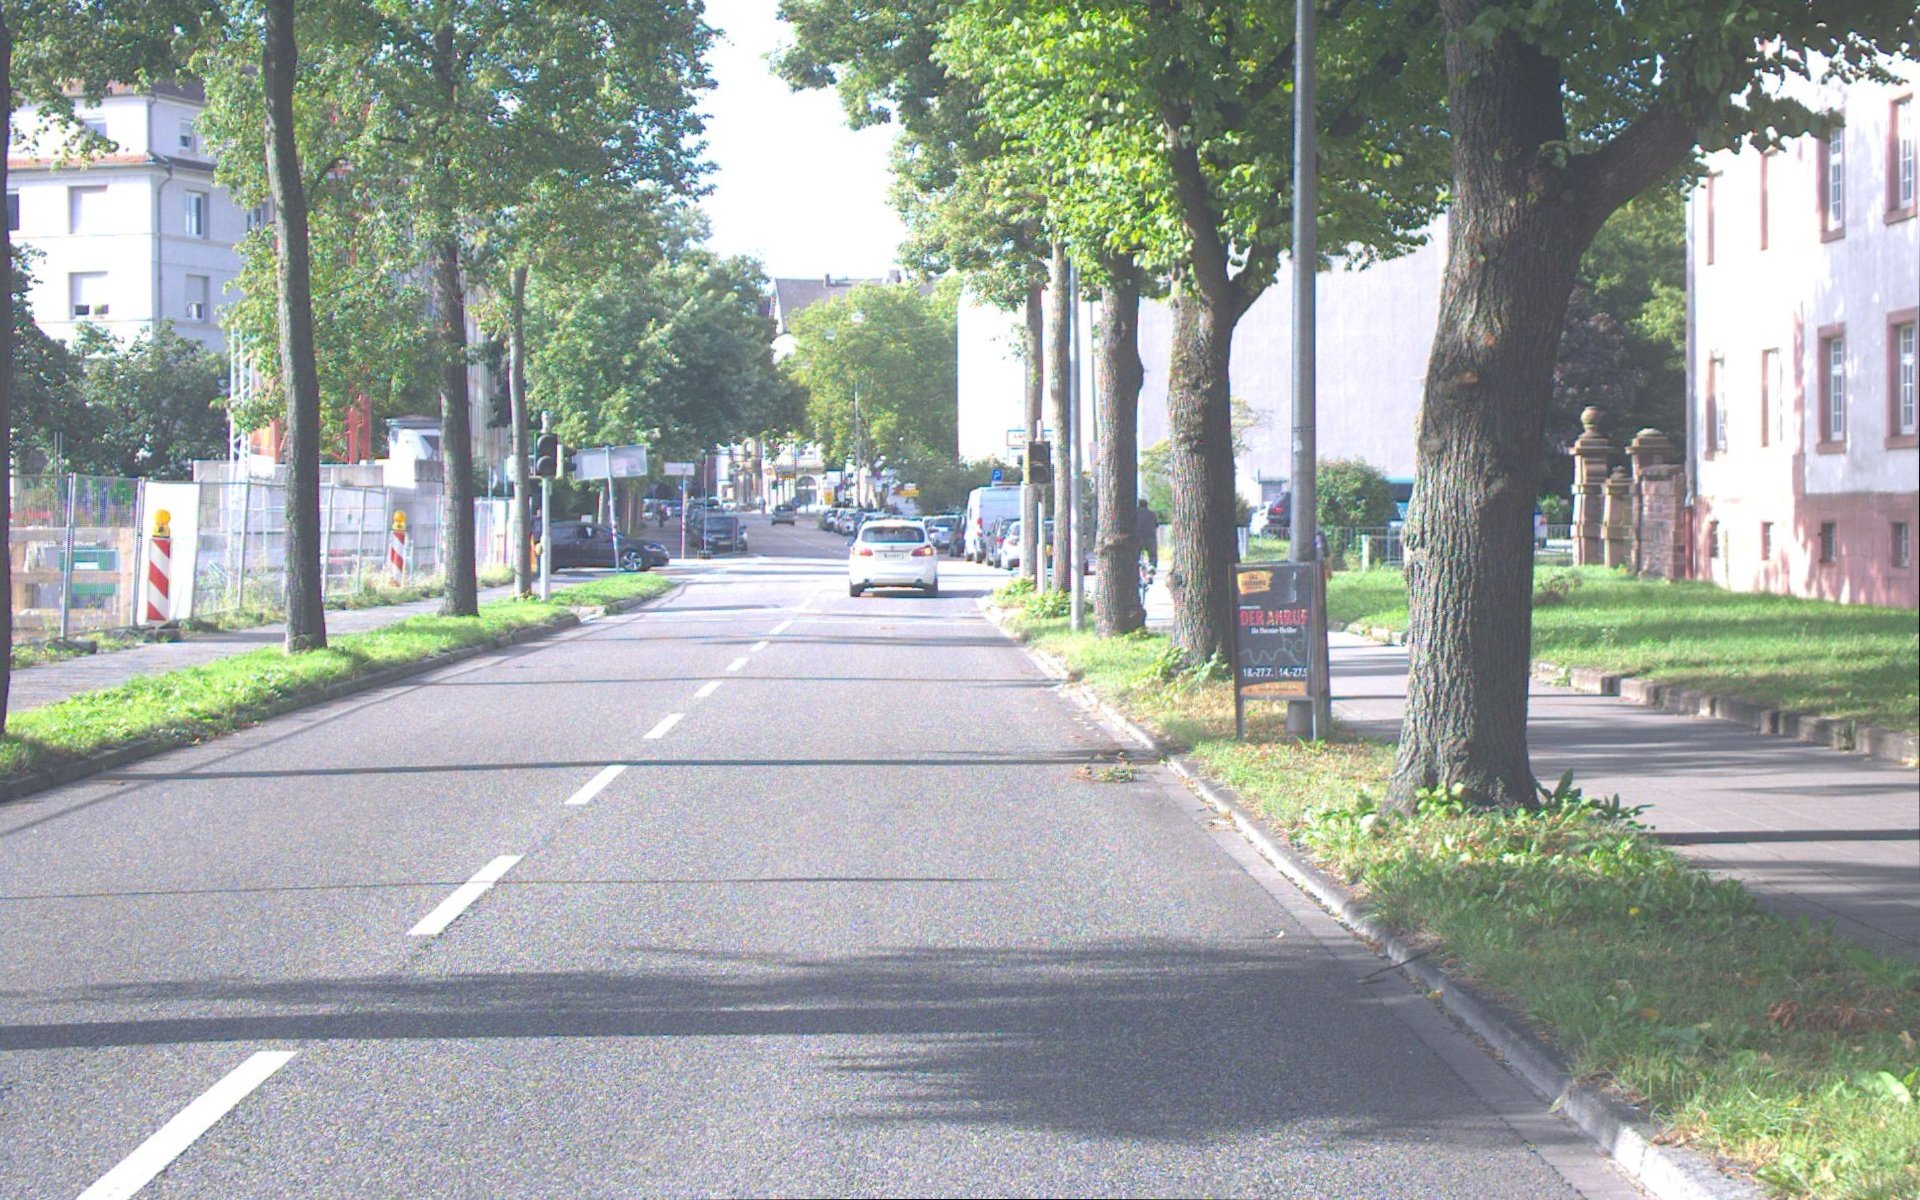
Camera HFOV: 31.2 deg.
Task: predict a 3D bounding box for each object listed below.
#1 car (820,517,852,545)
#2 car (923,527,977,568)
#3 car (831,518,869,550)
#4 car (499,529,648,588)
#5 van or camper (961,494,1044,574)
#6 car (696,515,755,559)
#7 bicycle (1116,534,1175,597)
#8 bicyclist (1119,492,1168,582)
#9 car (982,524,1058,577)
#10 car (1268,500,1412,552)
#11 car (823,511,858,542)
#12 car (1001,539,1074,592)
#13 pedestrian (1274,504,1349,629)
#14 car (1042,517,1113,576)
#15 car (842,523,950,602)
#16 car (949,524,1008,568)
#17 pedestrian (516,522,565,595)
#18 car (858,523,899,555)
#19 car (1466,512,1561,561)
[{"bbox_3d":[-8.043,-4.501,223.617,1.993,1.749,4.000,1,1,-1],"label":"car"},{"bbox_3d":[-0.414,-2.093,137.046,1.993,1.568,4.001,-1,1,-2],"label":"car"},{"bbox_3d":[-6.104,-3.654,190.600,1.993,1.749,4.000,1,1,-1],"label":"car"},{"bbox_3d":[-10.776,-1.151,95.735,3.986,1.565,2.001,1,1,-11],"label":"car"},{"bbox_3d":[1.388,-2.239,115.510,2.209,2.598,5.373,-1,1,-5],"label":"van or camper"},{"bbox_3d":[-9.008,-2.433,131.788,1.993,1.634,4.001,-1,1,-7],"label":"car"},{"bbox_3d":[3.202,-0.603,59.529,0.740,1.031,2.762,-2,1,-2],"label":"bicycle"},{"bbox_3d":[3.184,-1.094,59.706,0.737,1.508,0.875,-2,1,-2],"label":"bicyclist"},{"bbox_3d":[1.890,-1.587,109.557,1.993,1.610,4.409,-1,1,-4],"label":"car"},{"bbox_3d":[12.232,-2.398,110.853,4.448,1.616,2.000,-1,1,3],"label":"car"},{"bbox_3d":[-7.047,-4.325,203.185,1.993,1.749,4.000,1,1,-1],"label":"car"},{"bbox_3d":[2.292,-1.040,102.360,2.015,1.470,4.802,-1,1,0],"label":"car"},{"bbox_3d":[4.590,-0.444,44.922,0.814,1.585,0.769,-2,1,-2],"label":"pedestrian"},{"bbox_3d":[3.099,-1.411,91.161,1.717,1.491,4.268,-1,1,0],"label":"car"},{"bbox_3d":[-1.365,-0.797,71.539,1.993,1.549,4.275,1,1,-4],"label":"car"},{"bbox_3d":[0.648,-2.002,126.503,1.993,1.568,4.001,-1,1,-2],"label":"car"},{"bbox_3d":[-9.945,-0.976,81.480,1.006,1.722,1.178,0,0,-13],"label":"pedestrian"},{"bbox_3d":[-4.144,-3.083,174.337,1.993,1.568,4.001,-1,1,-2],"label":"car"},{"bbox_3d":[16.845,-1.964,104.845,1.993,1.437,4.001,-1,1,-4],"label":"car"}]
